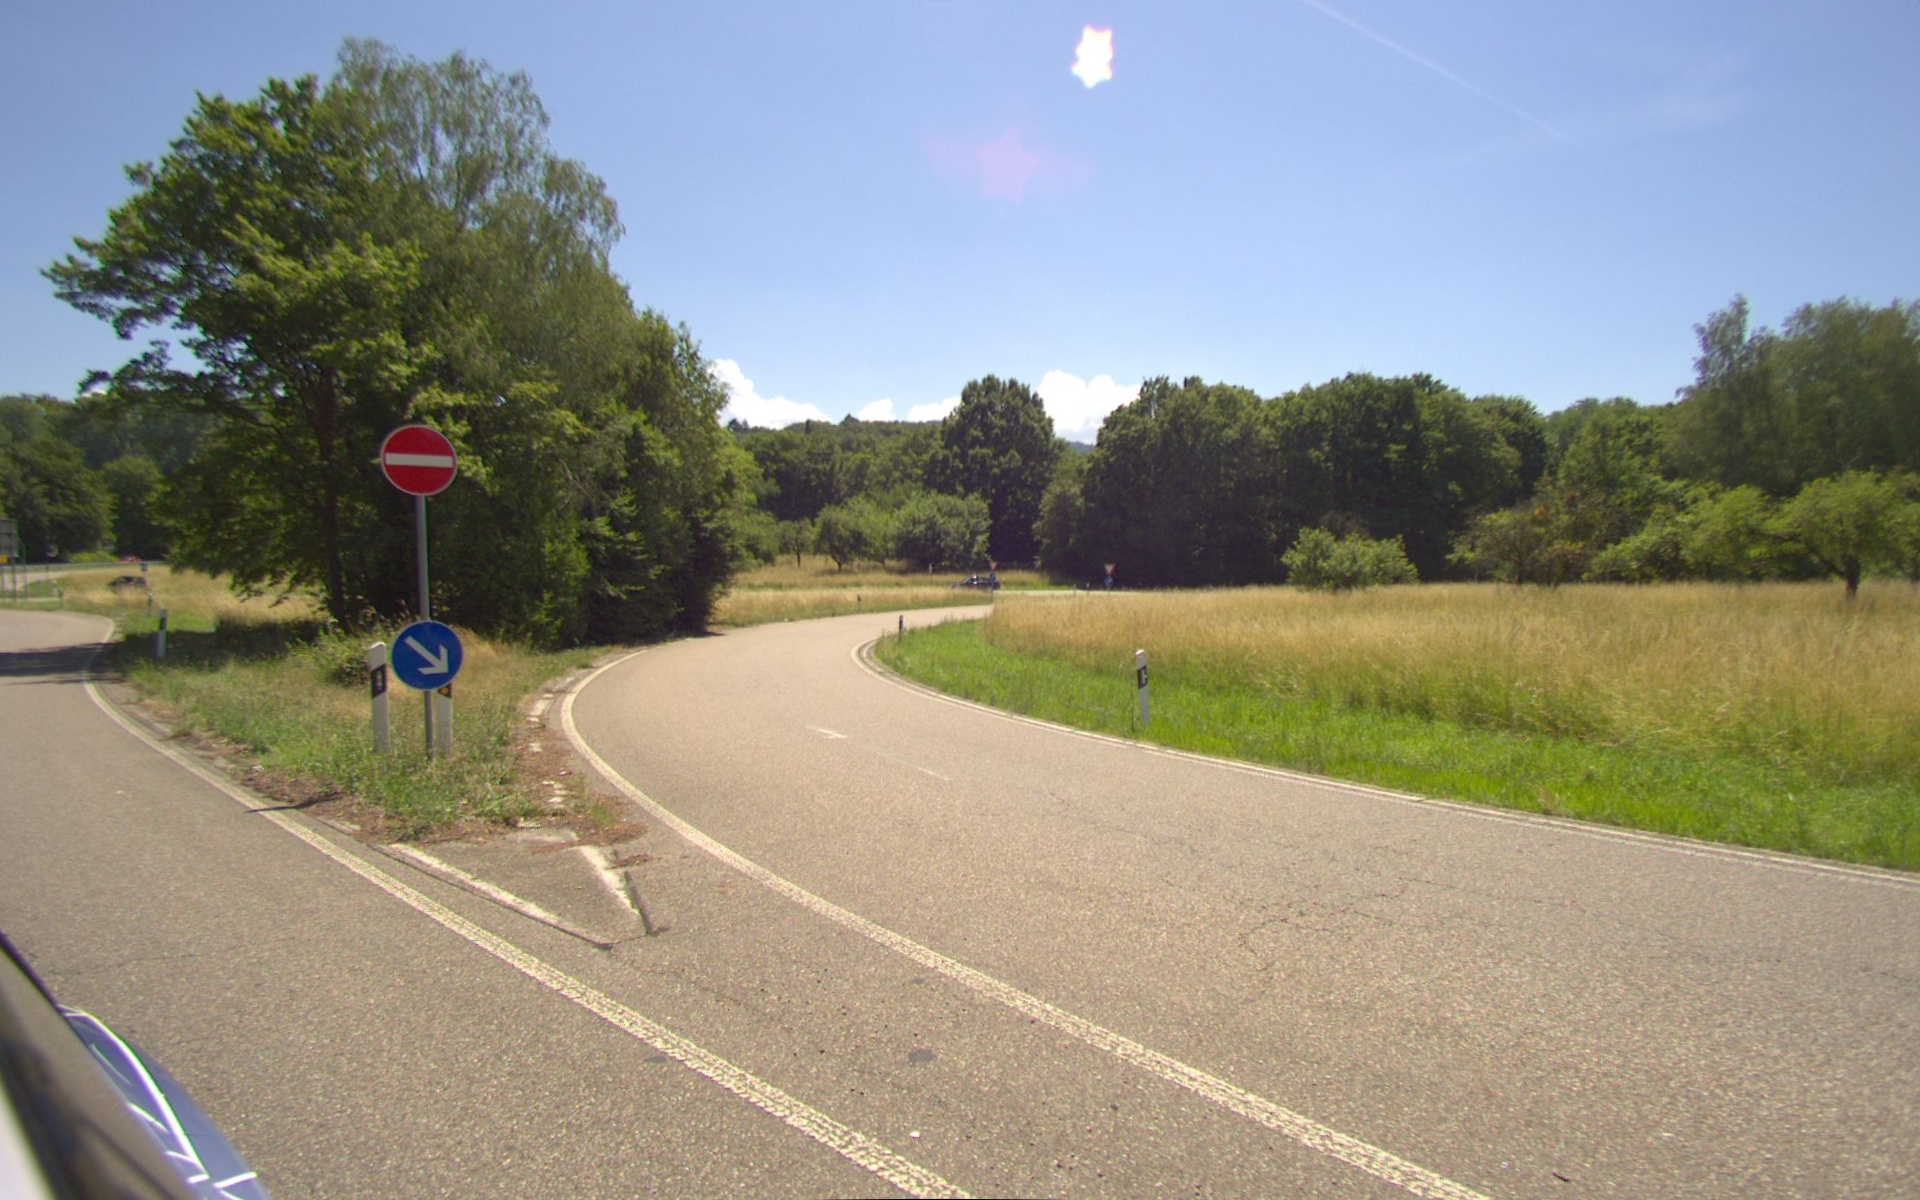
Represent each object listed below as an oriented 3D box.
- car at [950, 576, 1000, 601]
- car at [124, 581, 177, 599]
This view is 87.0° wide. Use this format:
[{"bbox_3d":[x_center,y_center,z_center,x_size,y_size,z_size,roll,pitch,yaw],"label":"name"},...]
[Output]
[{"bbox_3d":[1.296,-0.980,87.144,3.935,2.028,2.005,0,3,-11],"label":"car"},{"bbox_3d":[-62.484,-0.755,78.144,2.921,1.337,1.471,1,3,2],"label":"car"}]
